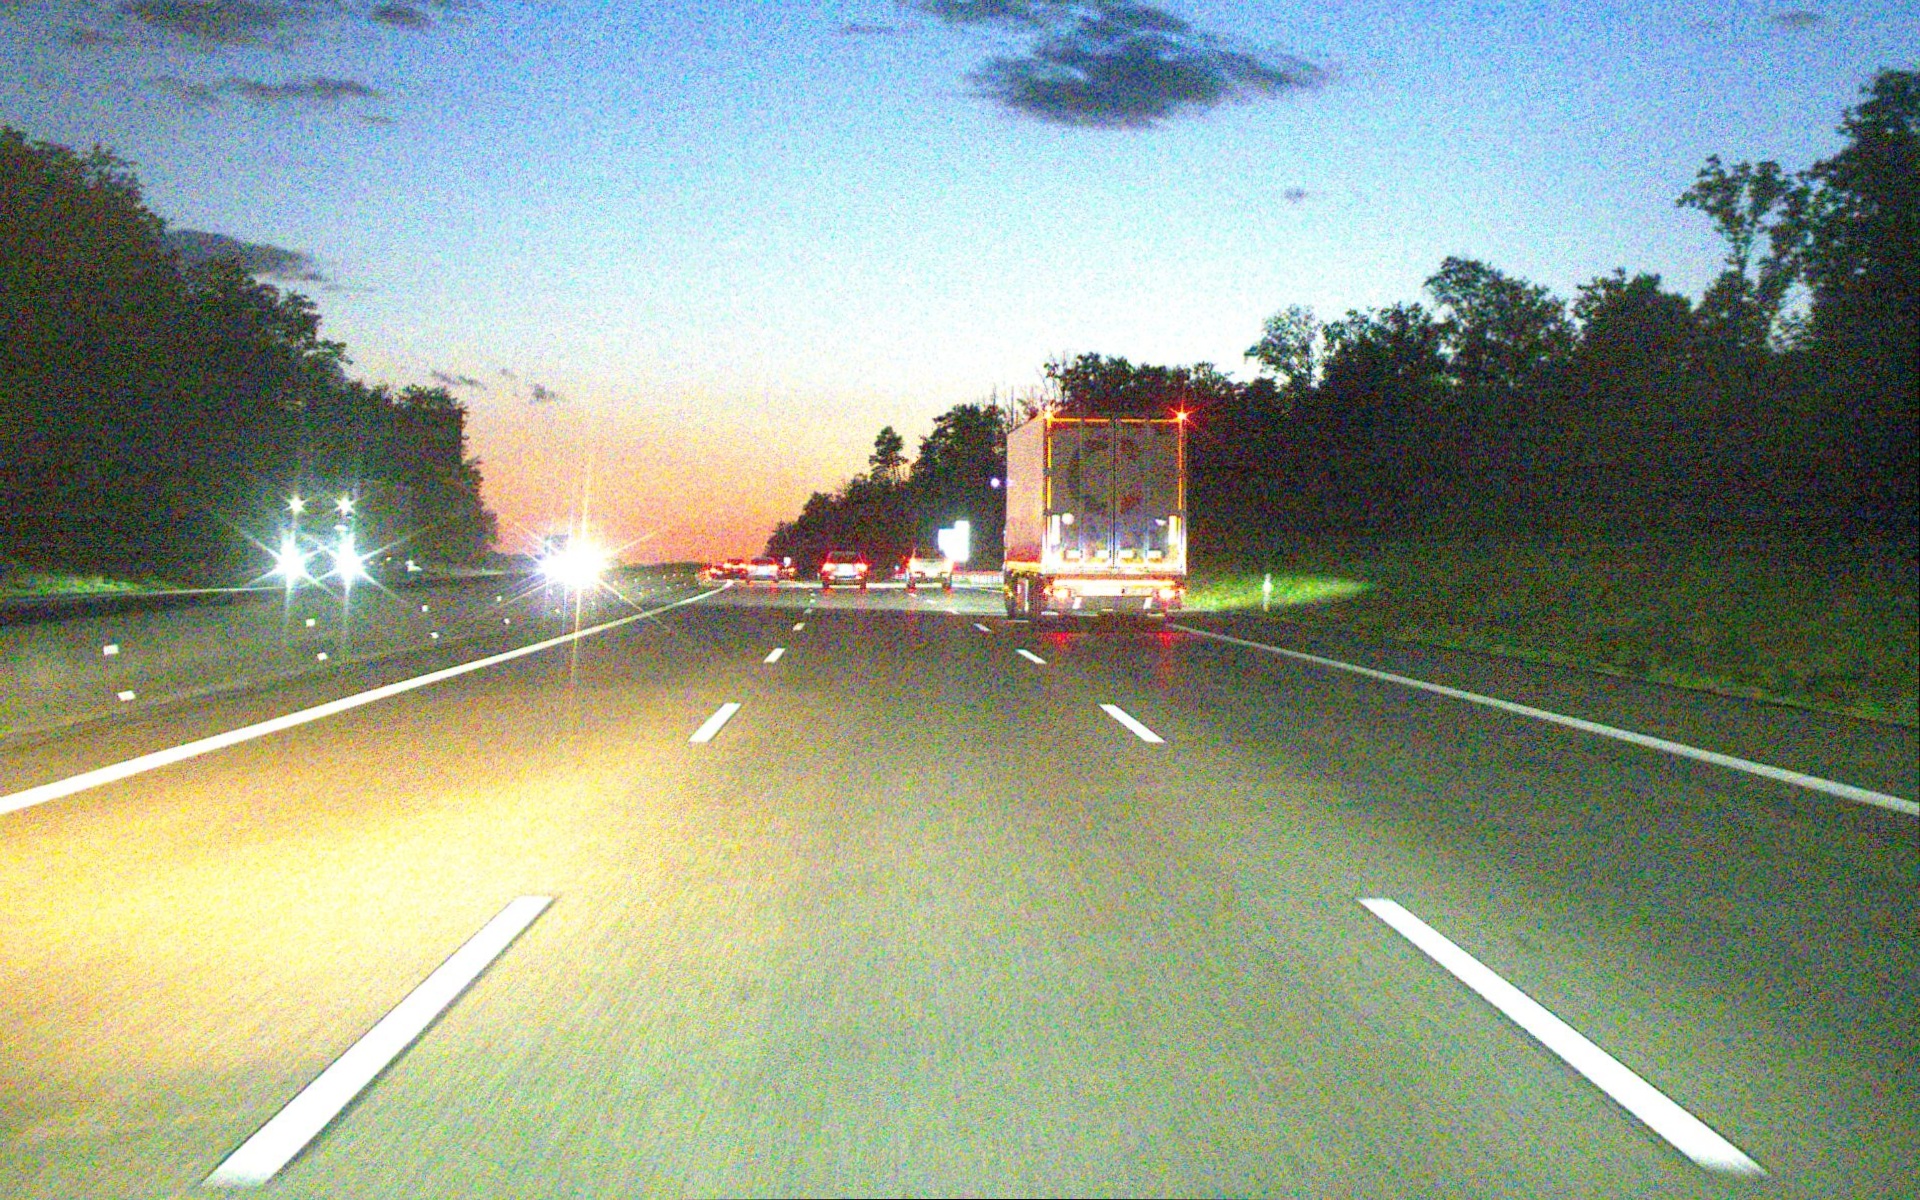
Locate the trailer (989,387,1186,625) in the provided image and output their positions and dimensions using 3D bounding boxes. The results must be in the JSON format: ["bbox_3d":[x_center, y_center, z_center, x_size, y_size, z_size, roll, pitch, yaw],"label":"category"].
[{"bbox_3d":[2.359,-1.813,70.337,2.829,4.242,17.051,1,1,-2],"label":"trailer"}]

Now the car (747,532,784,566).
[{"bbox_3d":[-10.669,-2.787,188.766,1.993,1.788,4.000,1,0,-2],"label":"car"}]

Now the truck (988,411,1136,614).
[{"bbox_3d":[2.178,-1.892,75.744,2.829,4.242,6.263,1,1,-2],"label":"truck"}]

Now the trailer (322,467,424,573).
[{"bbox_3d":[-23.421,-3.160,137.518,2.860,4.057,8.872,1,1,-2],"label":"trailer"}]

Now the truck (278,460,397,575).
[{"bbox_3d":[-23.046,-3.009,127.759,2.860,4.057,10.636,1,1,-2],"label":"truck"}]

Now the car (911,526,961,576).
[{"bbox_3d":[-1.065,-2.132,150.281,1.993,2.110,4.000,1,0,-2],"label":"car"}]

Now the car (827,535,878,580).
[{"bbox_3d":[-4.465,-1.741,143.440,1.993,1.788,4.000,1,0,0],"label":"car"}]
